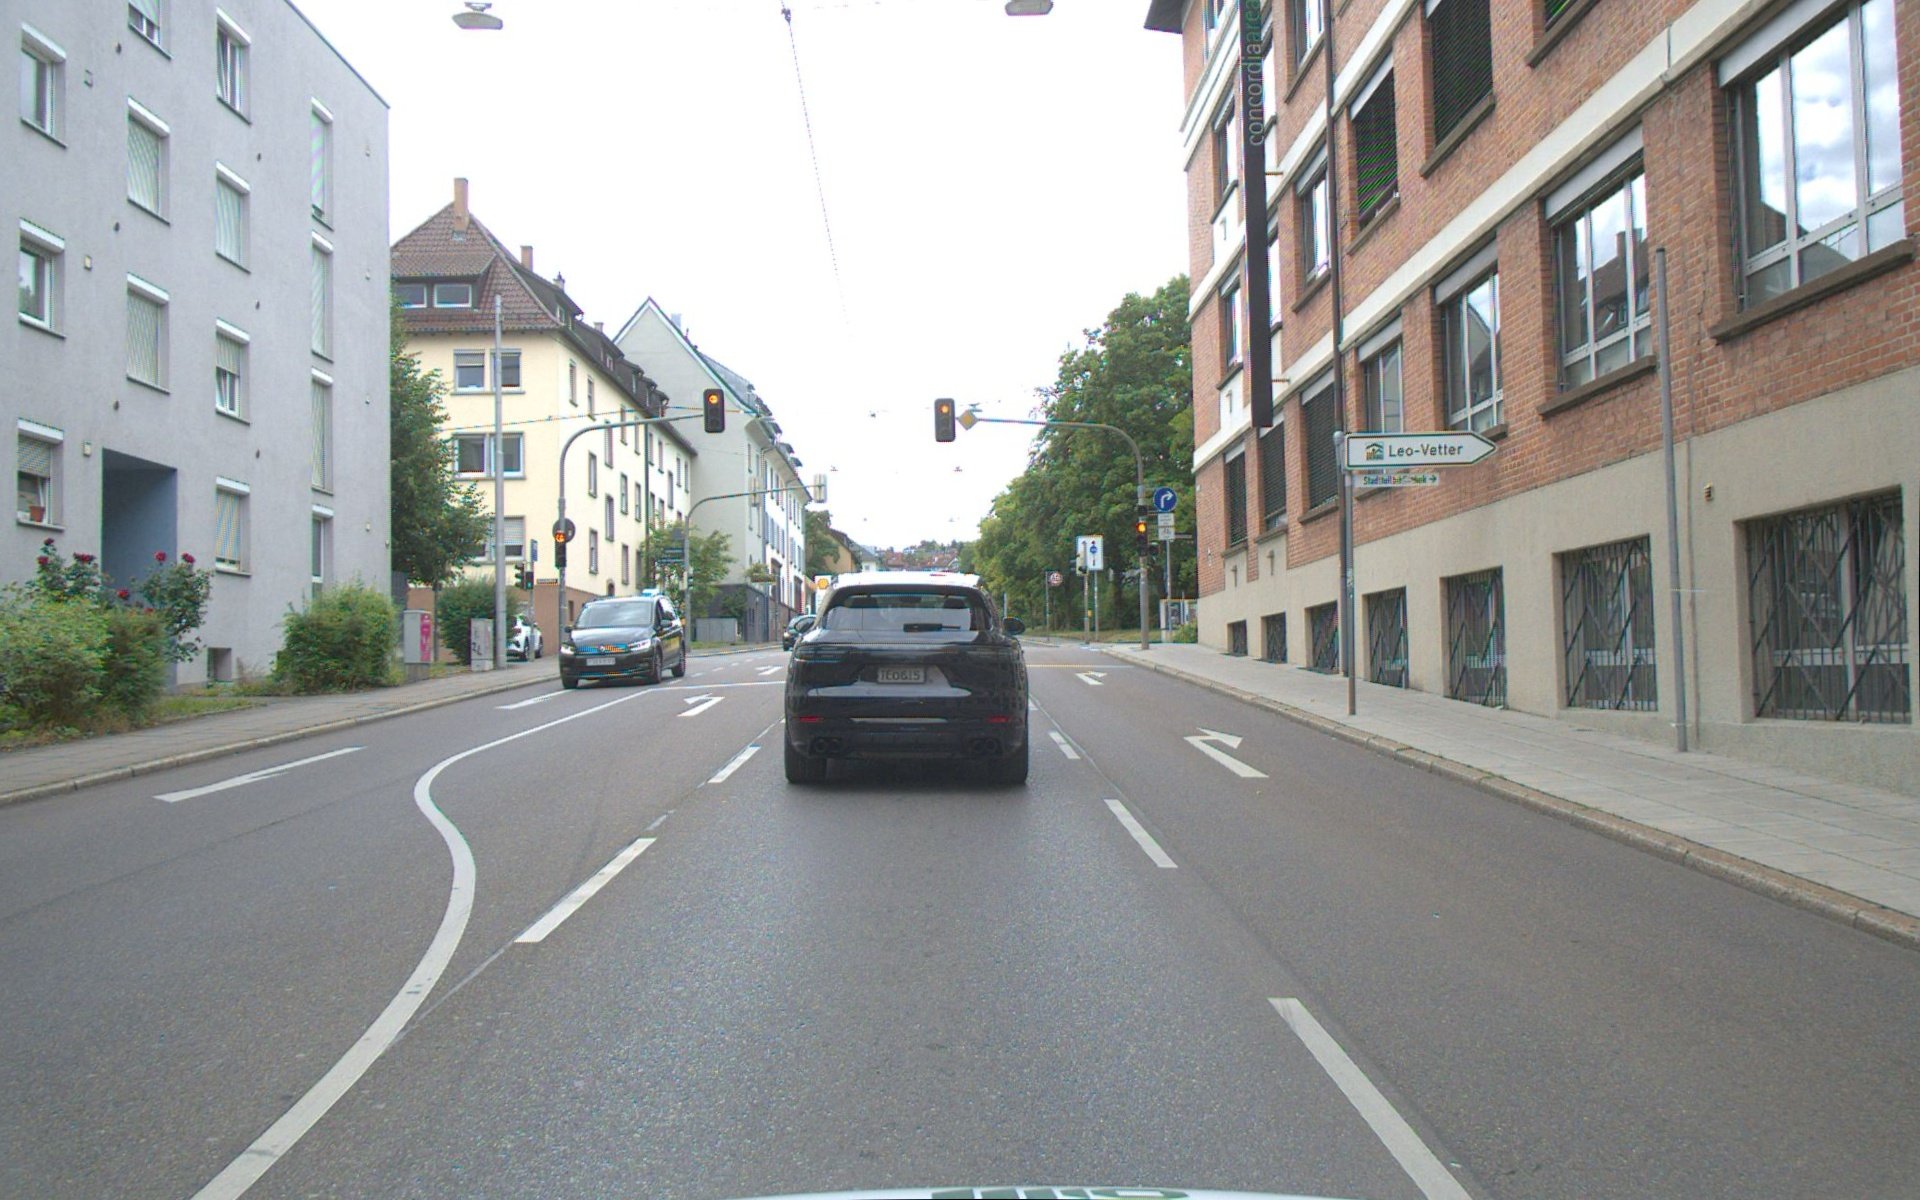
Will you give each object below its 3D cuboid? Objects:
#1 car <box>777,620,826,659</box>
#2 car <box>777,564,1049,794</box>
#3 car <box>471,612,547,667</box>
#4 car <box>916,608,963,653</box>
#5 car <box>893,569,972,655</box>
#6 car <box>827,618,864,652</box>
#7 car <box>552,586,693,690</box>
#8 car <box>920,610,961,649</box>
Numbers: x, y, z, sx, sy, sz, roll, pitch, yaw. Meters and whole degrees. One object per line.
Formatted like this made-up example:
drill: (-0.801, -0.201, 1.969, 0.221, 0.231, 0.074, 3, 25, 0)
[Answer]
car: (-6.589, 1.644, 69.157, 1.639, 1.424, 3.794, -3, 0, 0)
car: (-0.356, 0.579, 14.404, 2.006, 1.695, 4.266, 0, 0, 0)
car: (-14.773, 1.261, 54.364, 1.658, 1.582, 3.762, -3, 0, -4)
car: (-0.777, 1.170, 64.638, 1.790, 1.633, 4.135, 0, 0, 0)
car: (-0.687, 0.293, 42.504, 1.925, 2.078, 4.135, 0, 0, 0)
car: (-6.128, 1.880, 88.624, 1.669, 1.614, 3.936, -3, 0, -1)
car: (-6.330, 0.667, 31.478, 1.747, 1.736, 4.306, -3, 0, -1)
car: (-0.858, 1.273, 73.511, 1.790, 1.633, 3.858, 0, 0, 0)
